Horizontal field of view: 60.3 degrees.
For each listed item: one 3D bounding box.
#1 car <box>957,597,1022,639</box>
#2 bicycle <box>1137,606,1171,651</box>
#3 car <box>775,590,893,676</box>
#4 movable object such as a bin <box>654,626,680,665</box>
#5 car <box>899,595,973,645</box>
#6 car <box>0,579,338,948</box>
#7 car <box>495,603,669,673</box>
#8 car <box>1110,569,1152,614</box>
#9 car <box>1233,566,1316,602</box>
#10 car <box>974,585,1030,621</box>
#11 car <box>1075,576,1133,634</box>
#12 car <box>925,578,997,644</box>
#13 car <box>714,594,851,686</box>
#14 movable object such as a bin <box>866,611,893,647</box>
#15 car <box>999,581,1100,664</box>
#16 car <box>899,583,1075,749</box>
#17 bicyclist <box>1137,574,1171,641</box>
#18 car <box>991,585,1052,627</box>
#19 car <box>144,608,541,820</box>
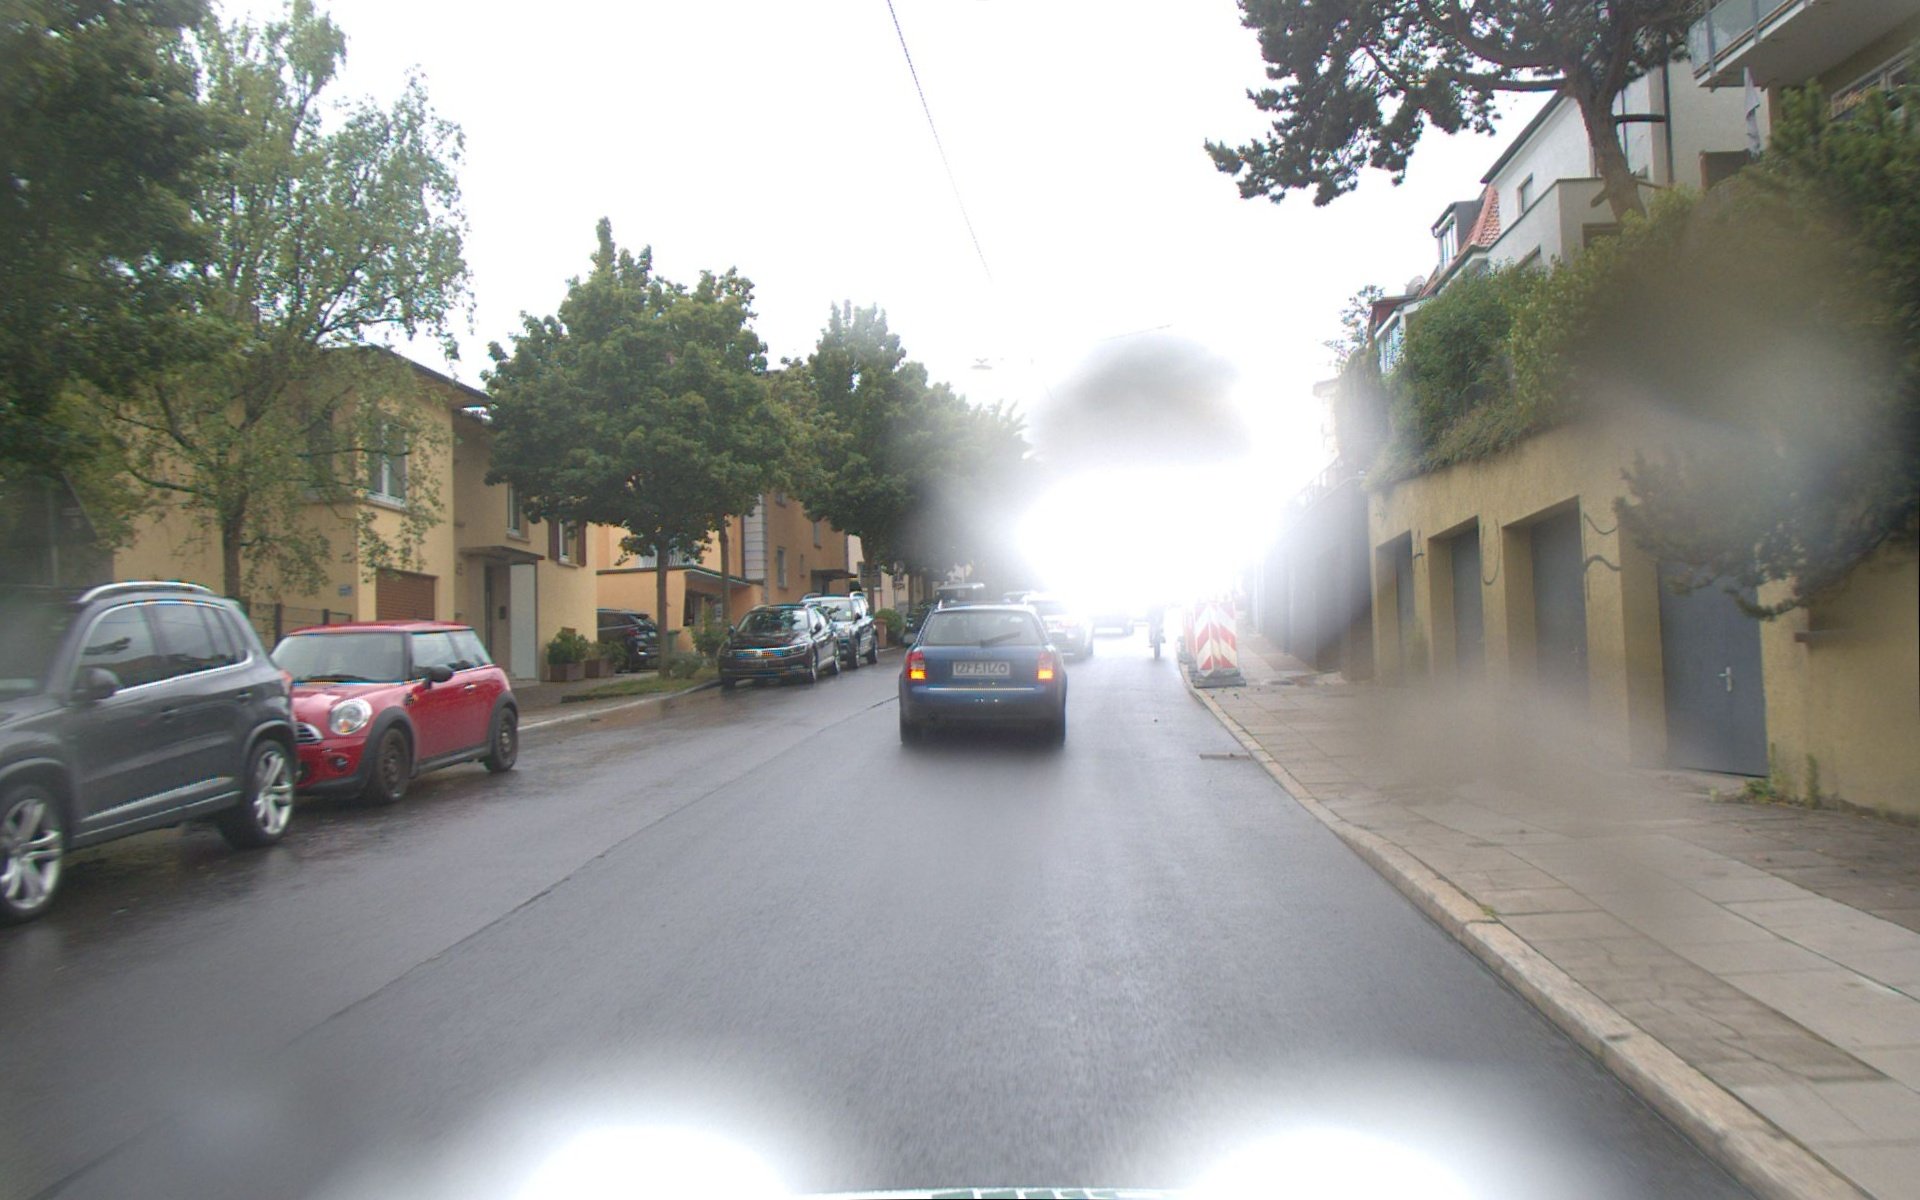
[{"bbox_3d":[1.225,0.688,65.972,1.730,1.411,4.638,-3,1,11],"label":"car"},{"bbox_3d":[4.454,0.633,37.859,0.714,0.981,1.672,-1,0,9],"label":"bicycle"},{"bbox_3d":[-2.820,0.708,38.029,1.731,1.662,4.113,-5,0,8],"label":"car"},{"bbox_3d":[-8.067,1.253,45.572,0.574,1.041,0.586,-1,0,5],"label":"movable object such as a bin"},{"bbox_3d":[-0.735,0.641,54.494,1.730,1.461,4.351,-3,0,8],"label":"car"},{"bbox_3d":[-5.260,0.790,9.159,1.763,1.698,4.427,-2,0,2],"label":"car"},{"bbox_3d":[-9.850,0.984,43.247,3.967,1.675,1.865,-2,0,8],"label":"car"},{"bbox_3d":[7.327,-0.398,70.707,1.696,1.799,4.239,0,2,7],"label":"car"},{"bbox_3d":[15.991,-0.818,84.043,3.903,1.492,1.741,-4,1,16],"label":"car"},{"bbox_3d":[2.667,0.170,104.649,3.144,1.769,1.481,-8,0,13],"label":"car"},{"bbox_3d":[4.968,0.130,56.644,1.696,1.799,4.239,0,2,9],"label":"car"},{"bbox_3d":[0.088,0.346,59.779,1.753,2.085,4.786,-5,0,9],"label":"car"},{"bbox_3d":[-3.401,0.721,32.512,1.731,1.562,4.608,-3,0,5],"label":"car"},{"bbox_3d":[-2.537,0.913,52.321,0.668,1.028,0.708,-6,0,3],"label":"movable object such as a bin"},{"bbox_3d":[2.092,0.467,37.682,1.933,1.663,4.239,0,2,8],"label":"car"},{"bbox_3d":[0.305,0.614,17.952,1.697,1.492,4.002,0,2,1],"label":"car"},{"bbox_3d":[4.451,0.166,37.863,0.709,1.498,0.887,-1,0,9],"label":"bicyclist"},{"bbox_3d":[2.739,0.254,72.741,1.730,1.655,4.694,-3,-1,13],"label":"car"},{"bbox_3d":[-5.026,0.849,14.054,1.646,1.497,3.867,-2,0,4],"label":"car"}]
